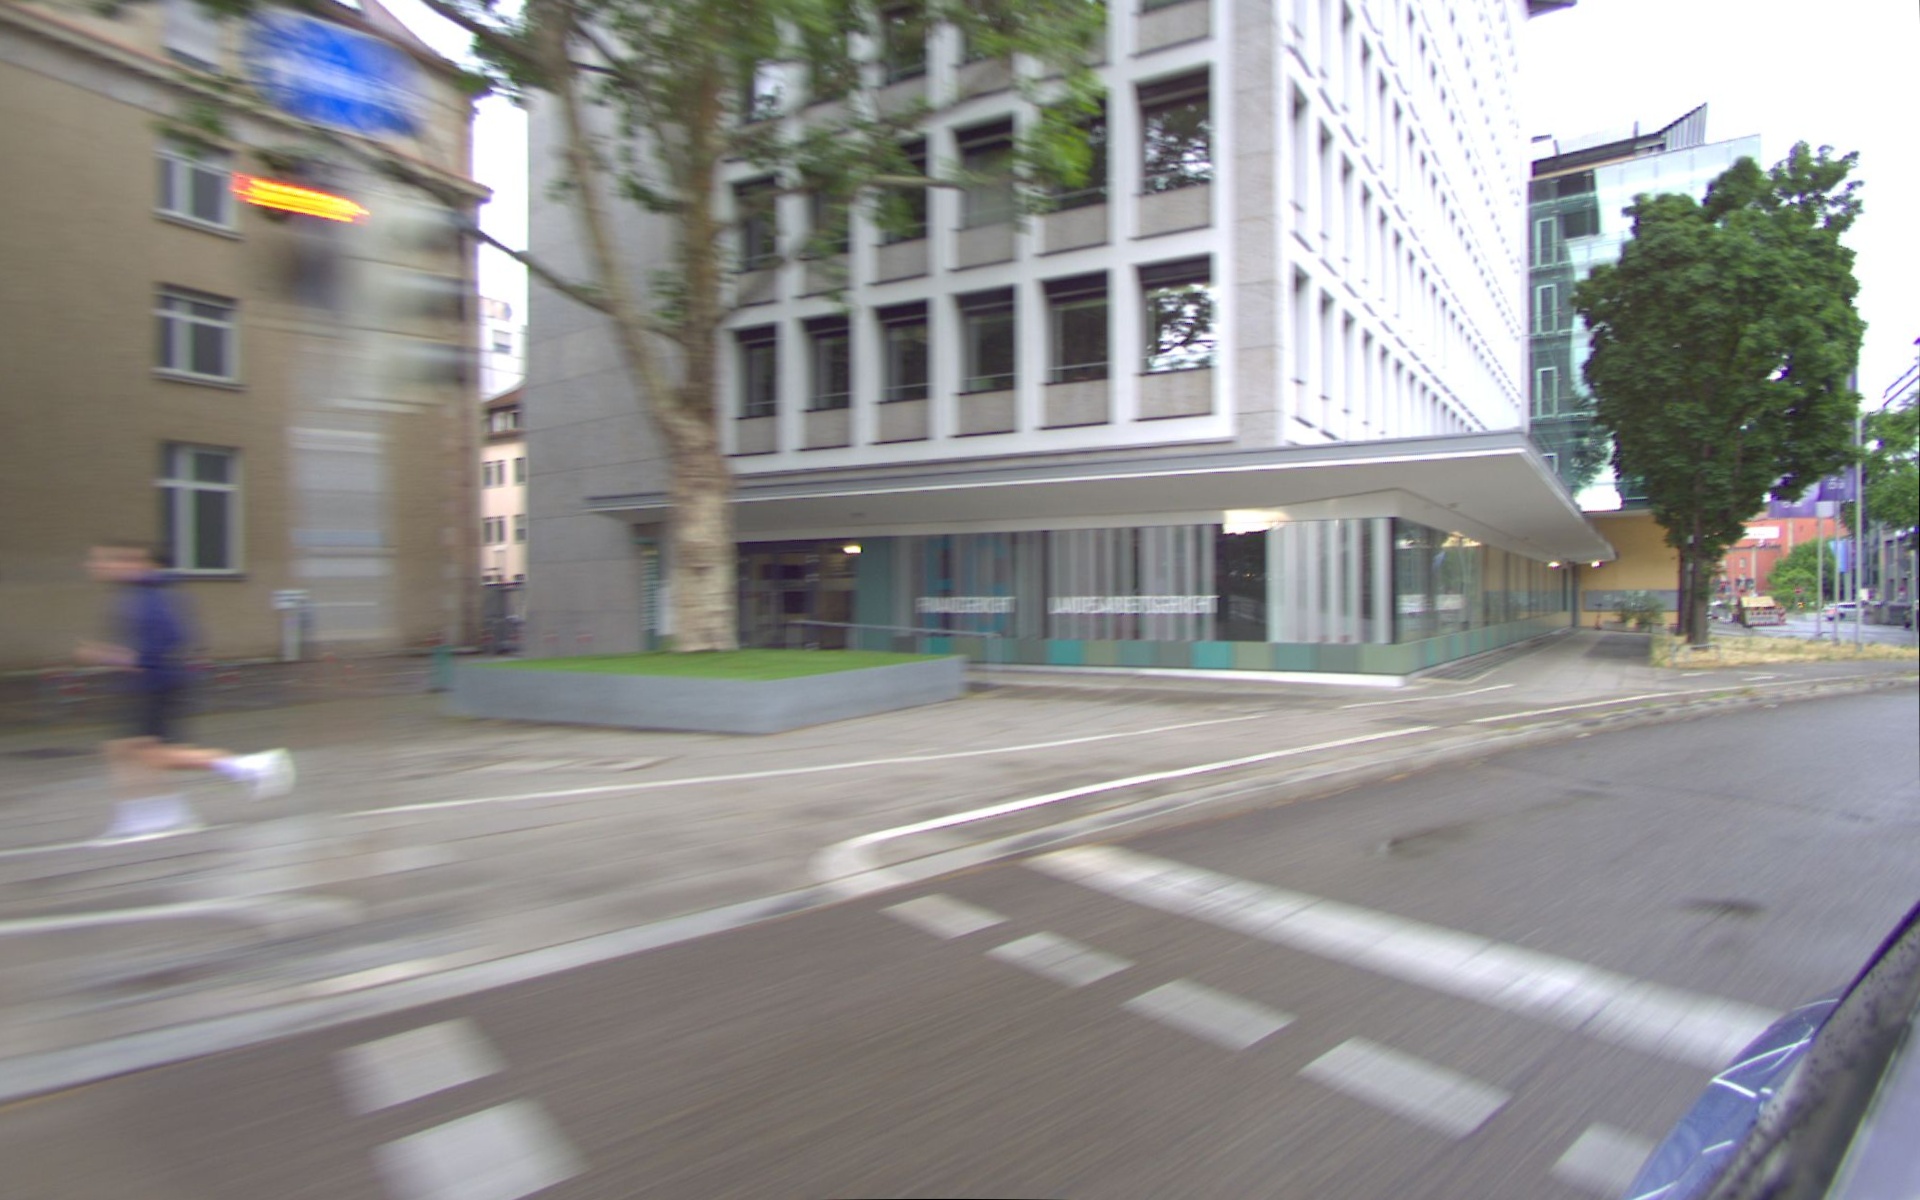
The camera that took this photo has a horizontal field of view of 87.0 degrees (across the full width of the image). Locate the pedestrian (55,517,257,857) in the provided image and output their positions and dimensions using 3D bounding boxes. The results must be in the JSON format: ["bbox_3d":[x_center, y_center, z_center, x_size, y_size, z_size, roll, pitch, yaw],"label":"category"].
[{"bbox_3d":[-4.680,0.460,5.926,0.847,1.794,0.781,1,-1,-39],"label":"pedestrian"}]

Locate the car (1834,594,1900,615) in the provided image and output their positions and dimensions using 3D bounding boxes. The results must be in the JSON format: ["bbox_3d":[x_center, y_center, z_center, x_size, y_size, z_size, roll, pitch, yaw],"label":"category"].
[{"bbox_3d":[78.330,0.361,87.452,3.727,1.671,1.786,3,1,22],"label":"car"}]
